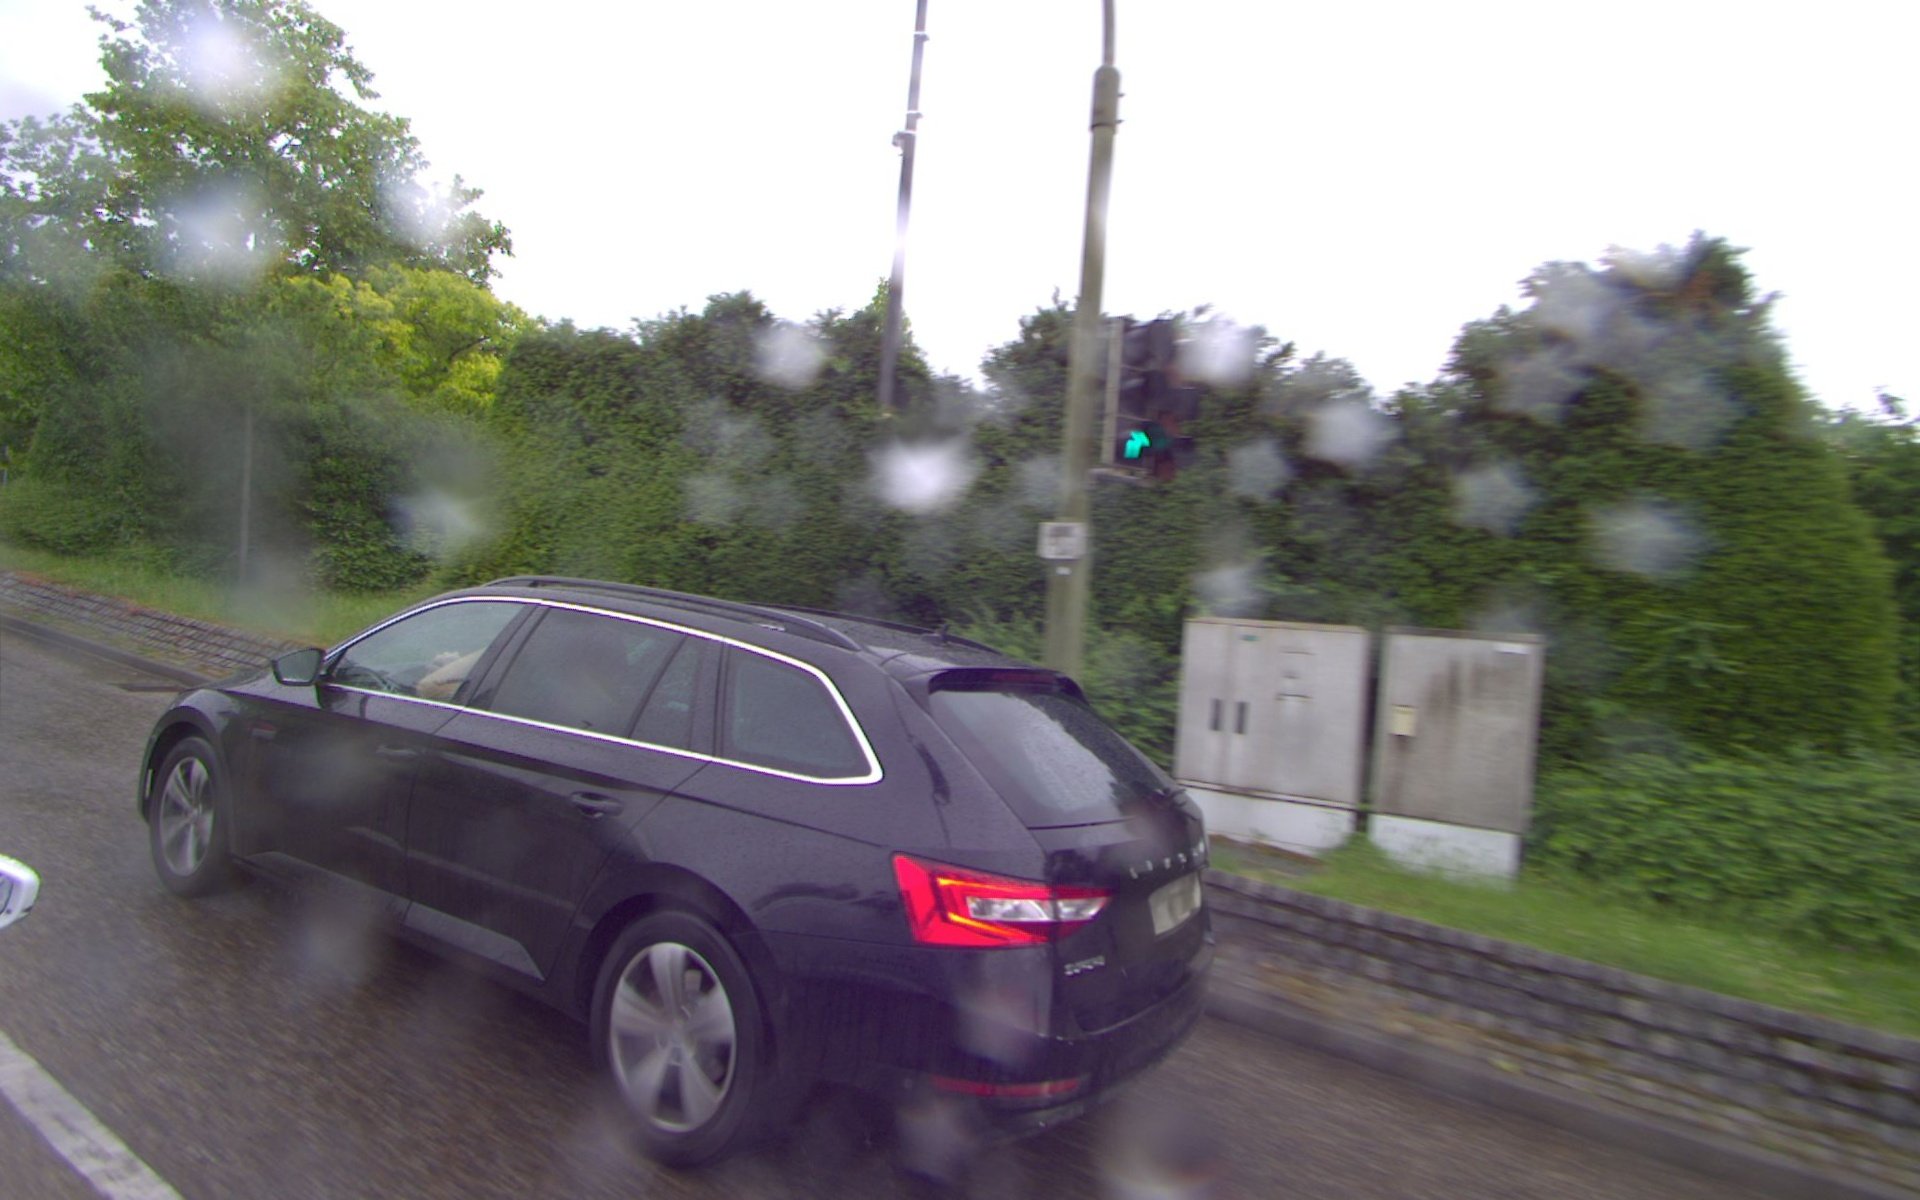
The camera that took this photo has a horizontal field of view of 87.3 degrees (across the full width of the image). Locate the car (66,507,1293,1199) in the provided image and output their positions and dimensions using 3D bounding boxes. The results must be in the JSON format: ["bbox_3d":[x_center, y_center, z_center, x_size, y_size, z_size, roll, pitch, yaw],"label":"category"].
[{"bbox_3d":[-1.299,0.666,3.968,4.532,1.523,1.959,6,-4,31],"label":"car"}]

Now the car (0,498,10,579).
[{"bbox_3d":[-11.236,-0.494,9.696,4.230,1.426,1.852,6,-2,31],"label":"car"}]
